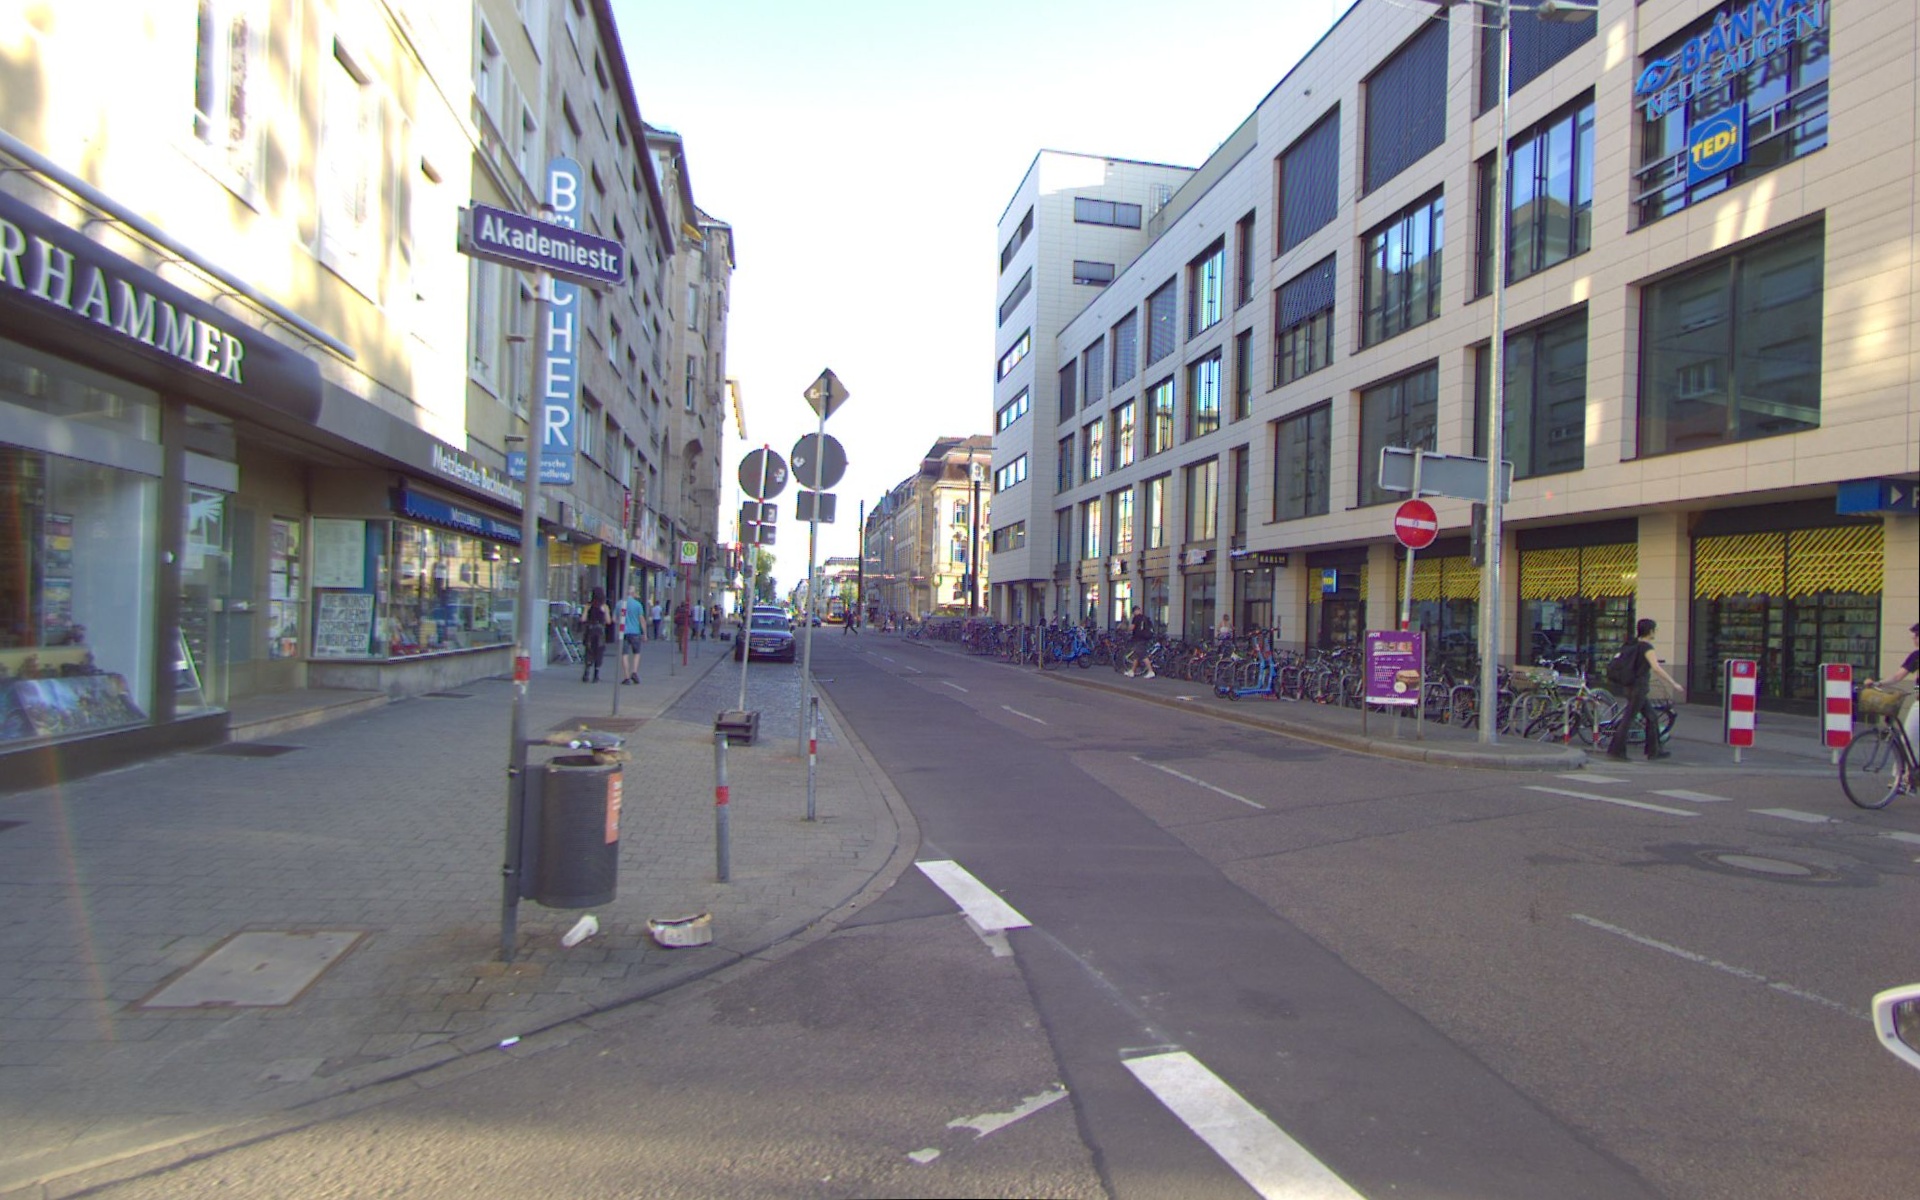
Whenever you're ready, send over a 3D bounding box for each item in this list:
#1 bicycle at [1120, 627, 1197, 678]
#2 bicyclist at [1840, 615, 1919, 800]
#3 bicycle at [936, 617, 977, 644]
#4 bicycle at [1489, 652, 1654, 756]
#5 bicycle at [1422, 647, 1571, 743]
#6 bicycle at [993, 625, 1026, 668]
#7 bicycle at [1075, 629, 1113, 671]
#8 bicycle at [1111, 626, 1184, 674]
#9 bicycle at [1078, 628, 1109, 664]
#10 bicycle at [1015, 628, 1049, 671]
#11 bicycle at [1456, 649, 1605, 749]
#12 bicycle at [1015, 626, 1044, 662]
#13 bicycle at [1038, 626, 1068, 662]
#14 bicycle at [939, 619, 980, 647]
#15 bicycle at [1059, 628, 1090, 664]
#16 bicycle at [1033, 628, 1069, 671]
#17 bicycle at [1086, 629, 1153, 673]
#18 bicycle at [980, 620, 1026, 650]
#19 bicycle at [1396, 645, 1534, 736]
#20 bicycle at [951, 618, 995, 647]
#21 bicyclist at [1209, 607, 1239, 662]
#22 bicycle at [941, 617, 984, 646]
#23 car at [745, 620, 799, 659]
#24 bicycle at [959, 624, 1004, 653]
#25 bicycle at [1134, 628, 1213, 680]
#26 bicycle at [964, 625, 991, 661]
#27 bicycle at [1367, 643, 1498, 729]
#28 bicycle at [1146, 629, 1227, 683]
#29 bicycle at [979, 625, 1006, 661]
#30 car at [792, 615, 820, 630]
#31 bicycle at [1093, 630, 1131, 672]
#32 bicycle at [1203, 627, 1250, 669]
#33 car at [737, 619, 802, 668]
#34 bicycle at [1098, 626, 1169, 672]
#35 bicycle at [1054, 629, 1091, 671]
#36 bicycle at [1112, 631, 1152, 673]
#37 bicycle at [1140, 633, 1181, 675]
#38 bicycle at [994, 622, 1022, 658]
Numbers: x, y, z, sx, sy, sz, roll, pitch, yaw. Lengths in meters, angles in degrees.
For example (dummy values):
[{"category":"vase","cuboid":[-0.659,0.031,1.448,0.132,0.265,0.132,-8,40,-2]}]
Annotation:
[{"category":"bicycle","cuboid":[5.331,1.407,26.916,1.945,1.271,0.512,3,0,-13]},{"category":"bicyclist","cuboid":[8.687,0.956,9.118,0.849,1.591,0.658,2,0,-15]},{"category":"bicycle","cuboid":[-0.165,1.525,50.131,1.949,1.271,0.511,3,0,-20]},{"category":"bicycle","cuboid":[7.987,1.355,13.120,2.010,1.271,0.581,3,0,-15]},{"category":"bicycle","cuboid":[7.653,1.355,14.337,1.944,1.271,0.512,3,0,-11]},{"category":"bicycle","cuboid":[1.569,1.478,32.197,0.504,1.271,1.974,2,-1,-13]},{"category":"bicycle","cuboid":[4.363,1.607,32.770,0.504,1.271,1.974,2,-1,-13]},{"category":"bicycle","cuboid":[5.319,1.425,28.518,1.945,1.271,0.512,3,0,-13]},{"category":"bicycle","cuboid":[5.128,1.753,38.720,0.504,1.271,1.974,2,-1,-13]},{"category":"bicycle","cuboid":[2.301,1.566,32.303,0.504,1.271,1.974,2,-1,-13]},{"category":"bicycle","cuboid":[7.799,1.354,13.731,1.946,1.271,0.512,3,0,-15]},{"category":"bicycle","cuboid":[2.641,1.662,38.292,0.504,1.271,1.974,2,-1,-13]},{"category":"bicycle","cuboid":[3.535,1.677,38.437,0.504,1.271,1.974,2,-1,-13]},{"category":"bicycle","cuboid":[-0.021,1.596,48.984,1.949,1.271,0.511,3,0,-20]},{"category":"bicycle","cuboid":[4.383,1.737,38.505,0.504,1.271,1.974,2,-1,-13]},{"category":"bicycle","cuboid":[2.924,1.591,32.486,0.504,1.271,1.974,2,-1,-13]},{"category":"bicycle","cuboid":[4.902,1.561,30.841,1.945,1.271,0.512,3,0,-13]},{"category":"bicycle","cuboid":[1.926,1.553,44.932,1.945,1.271,0.512,3,0,-13]},{"category":"bicycle","cuboid":[7.590,1.362,15.096,1.945,1.271,0.512,3,0,-13]},{"category":"bicycle","cuboid":[0.625,1.509,46.698,1.949,1.271,0.511,3,0,-20]},{"category":"bicyclist","cuboid":[8.415,1.092,32.023,0.672,1.718,0.643,2,0,-11]},{"category":"bicycle","cuboid":[0.112,1.513,48.105,1.949,1.271,0.511,3,0,-20]},{"category":"car","cuboid":[-7.594,1.543,40.285,1.832,1.409,4.610,2,-1,-14]},{"category":"bicycle","cuboid":[0.991,1.758,45.967,1.949,1.271,0.511,3,0,-20]},{"category":"bicycle","cuboid":[5.567,1.408,26.204,1.945,1.271,0.512,3,0,-13]},{"category":"bicycle","cuboid":[0.629,1.596,37.525,0.504,1.271,1.974,2,-1,-13]},{"category":"bicycle","cuboid":[7.463,1.366,15.873,1.945,1.271,0.512,3,0,-14]},{"category":"bicycle","cuboid":[5.724,1.405,25.392,1.945,1.271,0.512,3,0,-13]},{"category":"bicycle","cuboid":[1.209,1.609,37.866,0.504,1.271,1.974,2,-1,-13]},{"category":"car","cuboid":[-15.053,2.180,97.979,1.969,1.372,3.983,2,-1,-19]},{"category":"bicycle","cuboid":[4.972,1.660,32.938,0.504,1.271,1.974,2,-1,-13]},{"category":"bicycle","cuboid":[8.525,1.519,32.203,0.602,1.271,1.975,2,-1,-11]},{"category":"car","cuboid":[-6.160,1.355,32.198,1.832,1.409,3.989,2,-1,-14]},{"category":"bicycle","cuboid":[5.035,1.421,29.192,1.945,1.271,0.512,3,0,-13]},{"category":"bicycle","cuboid":[3.629,1.600,32.612,0.504,1.271,1.974,2,-1,-13]},{"category":"bicycle","cuboid":[5.644,1.683,33.071,0.504,1.271,1.974,2,-1,-13]},{"category":"bicycle","cuboid":[6.549,1.757,32.876,0.504,1.271,1.974,2,-1,-13]},{"category":"bicycle","cuboid":[1.805,1.512,38.026,0.504,1.271,1.974,2,-1,-13]}]
